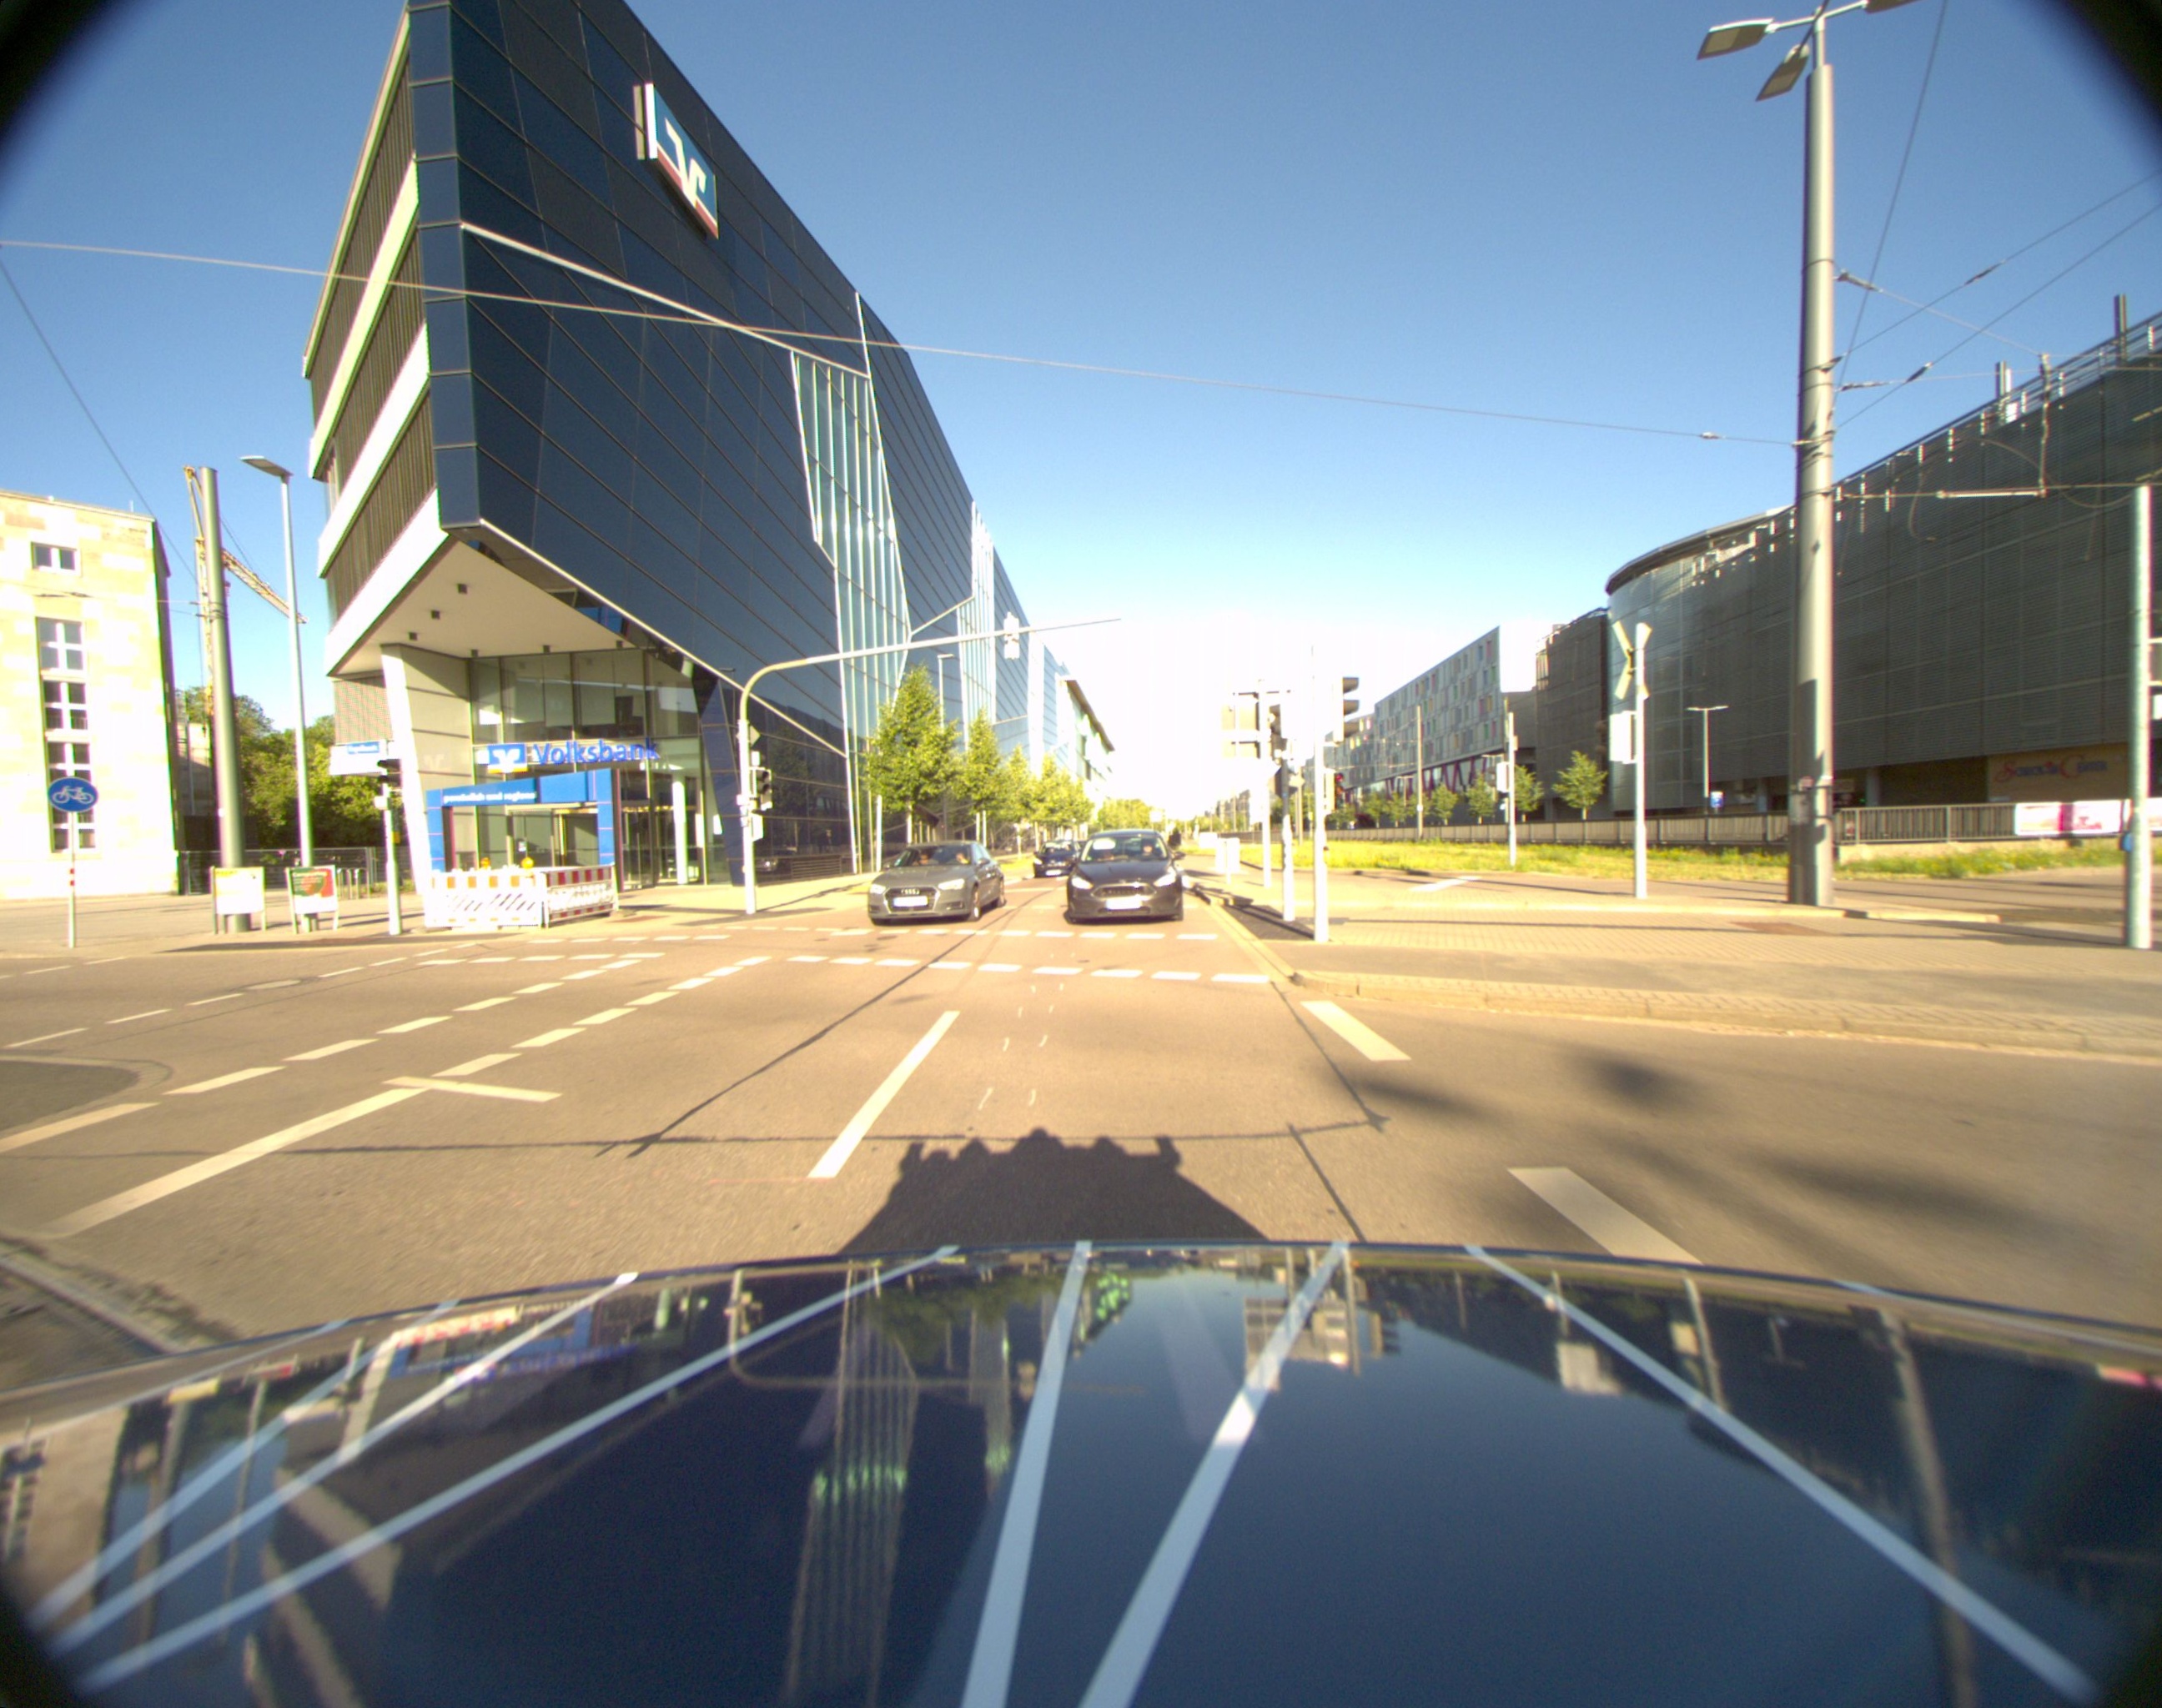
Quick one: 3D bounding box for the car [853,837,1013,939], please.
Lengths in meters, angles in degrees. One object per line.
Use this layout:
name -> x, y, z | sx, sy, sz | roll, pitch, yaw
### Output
car -> -2.524, 0.490, 14.065 | 1.749, 1.384, 4.263 | -3, 3, 4

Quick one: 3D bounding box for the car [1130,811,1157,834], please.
car -> 4.814, -2.427, 58.110 | 1.906, 1.613, 4.000 | -2, 3, 6

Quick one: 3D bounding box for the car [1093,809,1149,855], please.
car -> 1.645, -0.906, 29.717 | 1.906, 1.613, 4.000 | -2, 3, 6

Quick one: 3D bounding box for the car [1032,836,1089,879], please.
car -> -0.764, 0.094, 30.937 | 1.752, 1.470, 3.972 | -3, 2, 6

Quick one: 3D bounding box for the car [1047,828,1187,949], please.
car -> 0.706, 0.383, 12.218 | 1.787, 1.499, 4.590 | -1, 3, 6

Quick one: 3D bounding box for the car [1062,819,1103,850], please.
car -> 0.117, -1.065, 40.305 | 1.752, 1.470, 3.418 | -3, 2, 6
